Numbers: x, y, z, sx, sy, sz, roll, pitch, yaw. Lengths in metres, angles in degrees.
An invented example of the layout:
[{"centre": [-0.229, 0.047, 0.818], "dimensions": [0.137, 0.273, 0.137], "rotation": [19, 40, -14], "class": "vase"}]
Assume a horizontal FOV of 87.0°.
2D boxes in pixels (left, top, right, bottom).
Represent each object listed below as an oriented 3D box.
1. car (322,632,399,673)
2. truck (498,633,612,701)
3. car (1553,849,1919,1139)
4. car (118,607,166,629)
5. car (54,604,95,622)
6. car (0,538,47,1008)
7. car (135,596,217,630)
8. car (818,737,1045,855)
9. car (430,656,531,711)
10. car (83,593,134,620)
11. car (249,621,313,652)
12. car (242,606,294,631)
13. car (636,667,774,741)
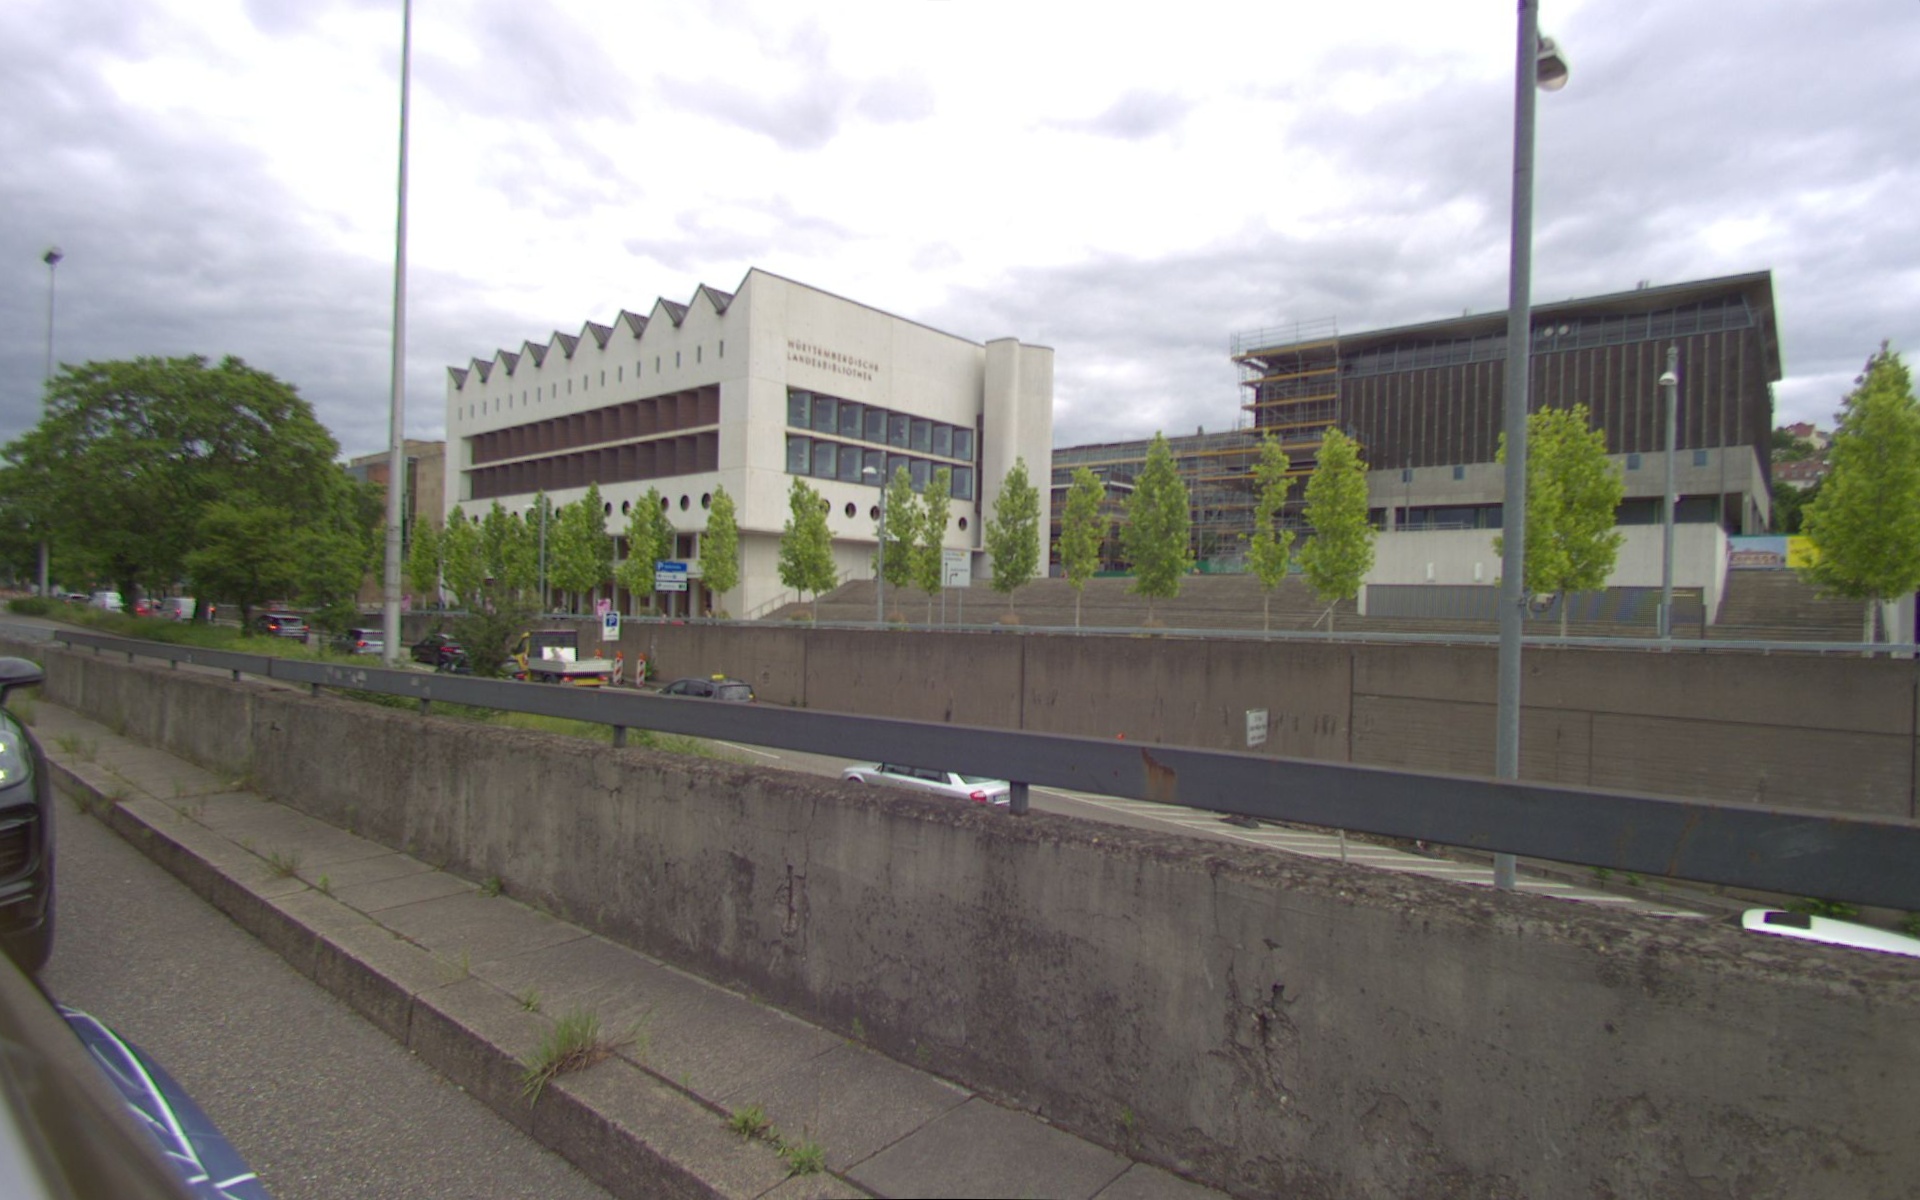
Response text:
[{"centre": [-26.951, 2.320, 45.458], "dimensions": [3.903, 1.553, 1.696], "rotation": [1, 2, 39], "class": "car"}, {"centre": [-16.134, 2.572, 40.164], "dimensions": [5.379, 2.419, 2.158], "rotation": [-2, -1, 43], "class": "truck"}, {"centre": [10.786, 4.773, 12.186], "dimensions": [5.932, 1.987, 2.593], "rotation": [1, 2, 41], "class": "car"}, {"centre": [-56.340, 1.251, 69.690], "dimensions": [3.999, 1.497, 1.972], "rotation": [-1, -2, 42], "class": "car"}, {"centre": [-74.440, 1.082, 85.054], "dimensions": [3.998, 1.409, 1.973], "rotation": [0, -4, 41], "class": "car"}, {"centre": [-5.541, 0.583, 4.480], "dimensions": [4.733, 1.602, 1.879], "rotation": [0, 0, 44], "class": "car"}, {"centre": [-49.167, 0.831, 63.456], "dimensions": [5.093, 2.029, 2.204], "rotation": [-1, -1, 29], "class": "car"}, {"centre": [-0.709, 4.174, 22.273], "dimensions": [4.837, 1.582, 2.157], "rotation": [1, 2, 41], "class": "car"}, {"centre": [-17.414, 2.984, 36.696], "dimensions": [4.167, 1.582, 1.792], "rotation": [1, 2, 41], "class": "car"}, {"centre": [-63.705, 0.500, 75.702], "dimensions": [5.247, 1.651, 1.973], "rotation": [2, -5, 41], "class": "car"}, {"centre": [-36.046, 1.908, 53.707], "dimensions": [3.999, 1.560, 1.855], "rotation": [0, -1, 42], "class": "car"}, {"centre": [-53.931, 1.443, 78.837], "dimensions": [4.732, 1.869, 2.152], "rotation": [-1, -2, 40], "class": "car"}, {"centre": [-8.346, 3.299, 32.906], "dimensions": [4.393, 1.780, 2.140], "rotation": [4, 0, 41], "class": "car"}]
